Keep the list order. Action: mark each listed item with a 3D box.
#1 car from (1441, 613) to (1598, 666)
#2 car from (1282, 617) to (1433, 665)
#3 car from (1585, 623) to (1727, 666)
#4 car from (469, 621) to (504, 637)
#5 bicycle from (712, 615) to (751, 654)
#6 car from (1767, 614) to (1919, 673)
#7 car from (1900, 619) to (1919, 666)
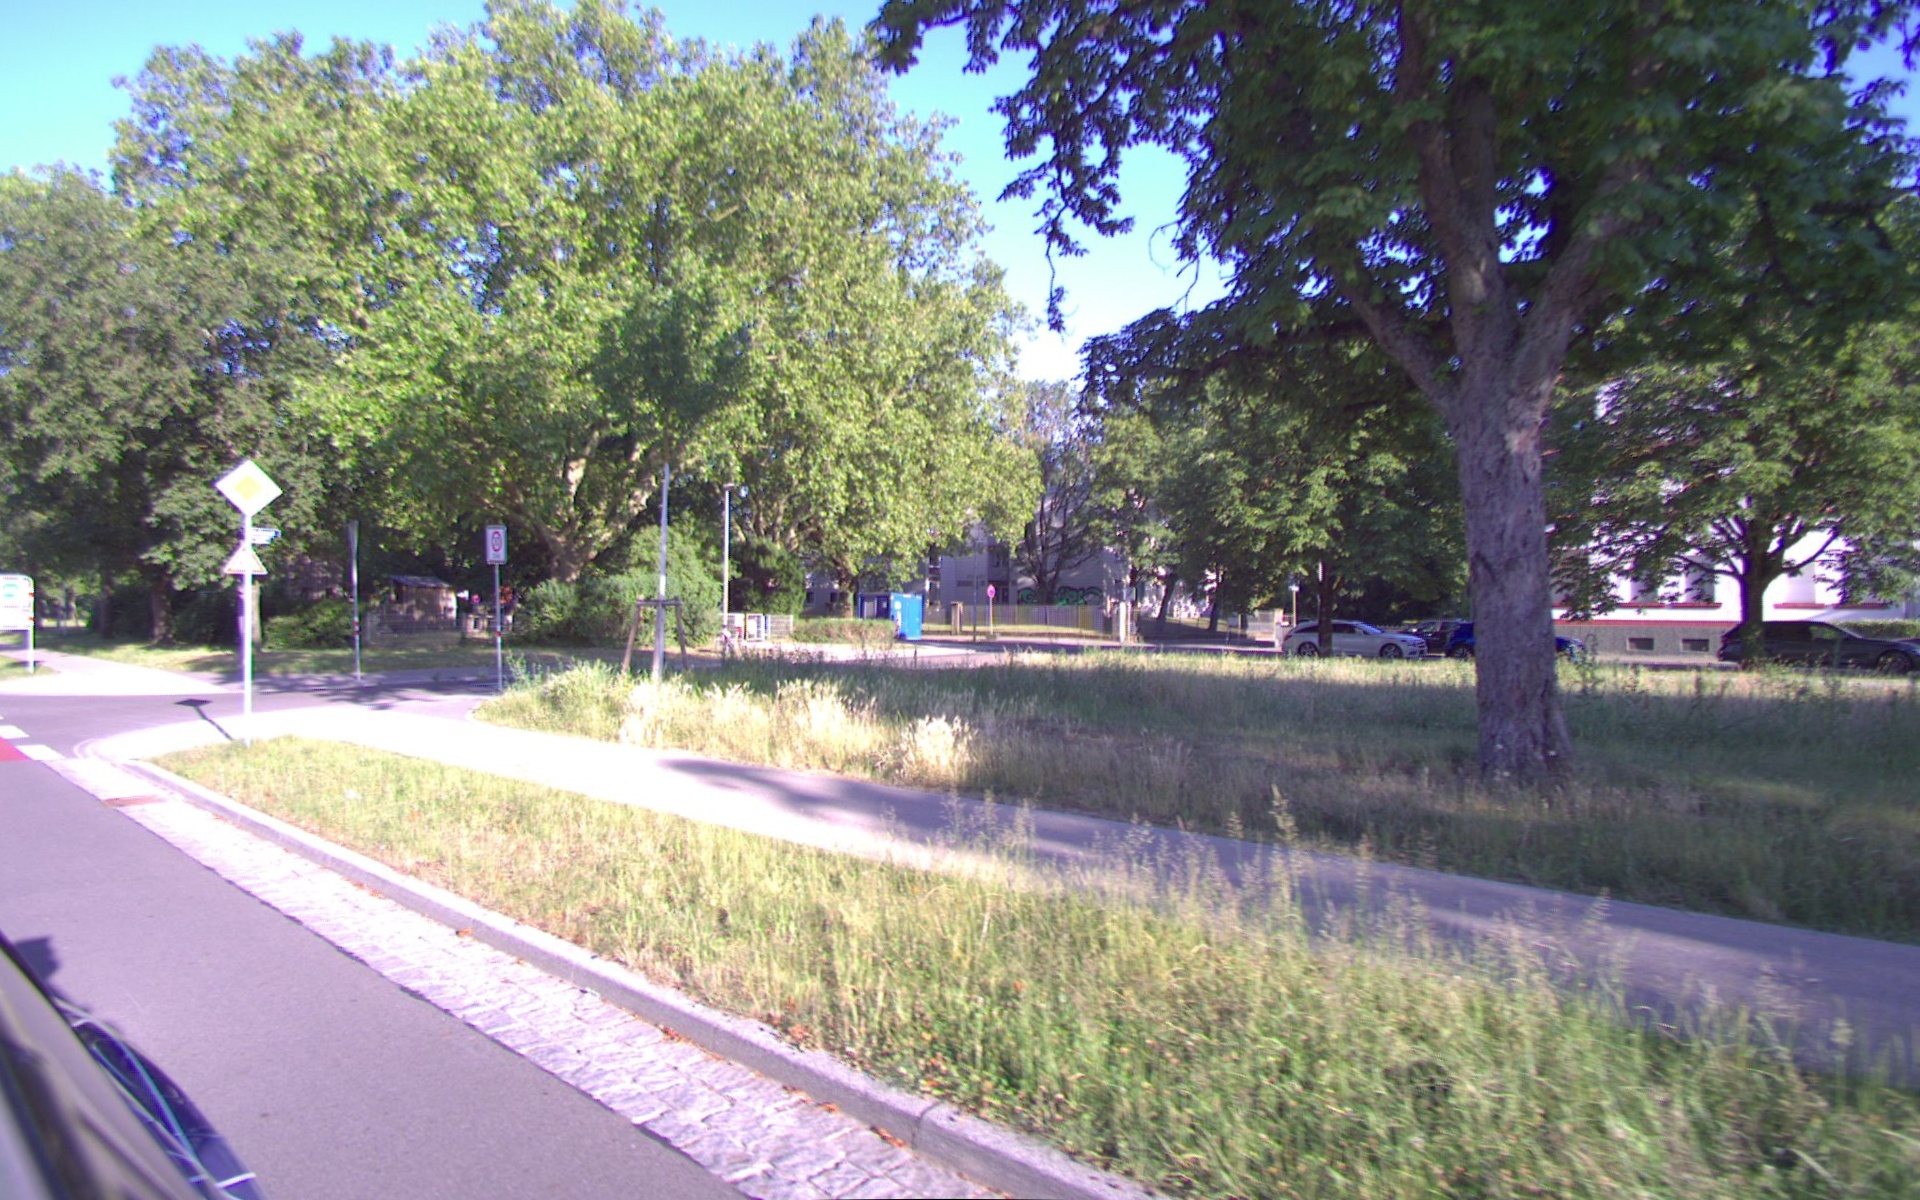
[{"bbox_3d":[17.993,1.237,32.642,4.215,1.609,1.676,-1,-1,38],"label":"car"},{"bbox_3d":[14.062,1.409,35.969,4.750,1.609,1.676,-1,-1,38],"label":"car"},{"bbox_3d":[23.975,1.504,34.931,3.851,1.342,1.553,-1,0,42],"label":"car"},{"bbox_3d":[-43.271,2.658,92.443,3.790,1.378,1.506,-1,-1,41],"label":"car"},{"bbox_3d":[-7.213,1.077,32.003,0.417,1.196,1.579,1,-1,18],"label":"bicycle"},{"bbox_3d":[24.125,1.123,26.844,4.217,1.487,1.676,-1,-1,39],"label":"car"},{"bbox_3d":[29.737,1.219,28.675,4.479,1.342,1.553,-1,0,42],"label":"car"}]
